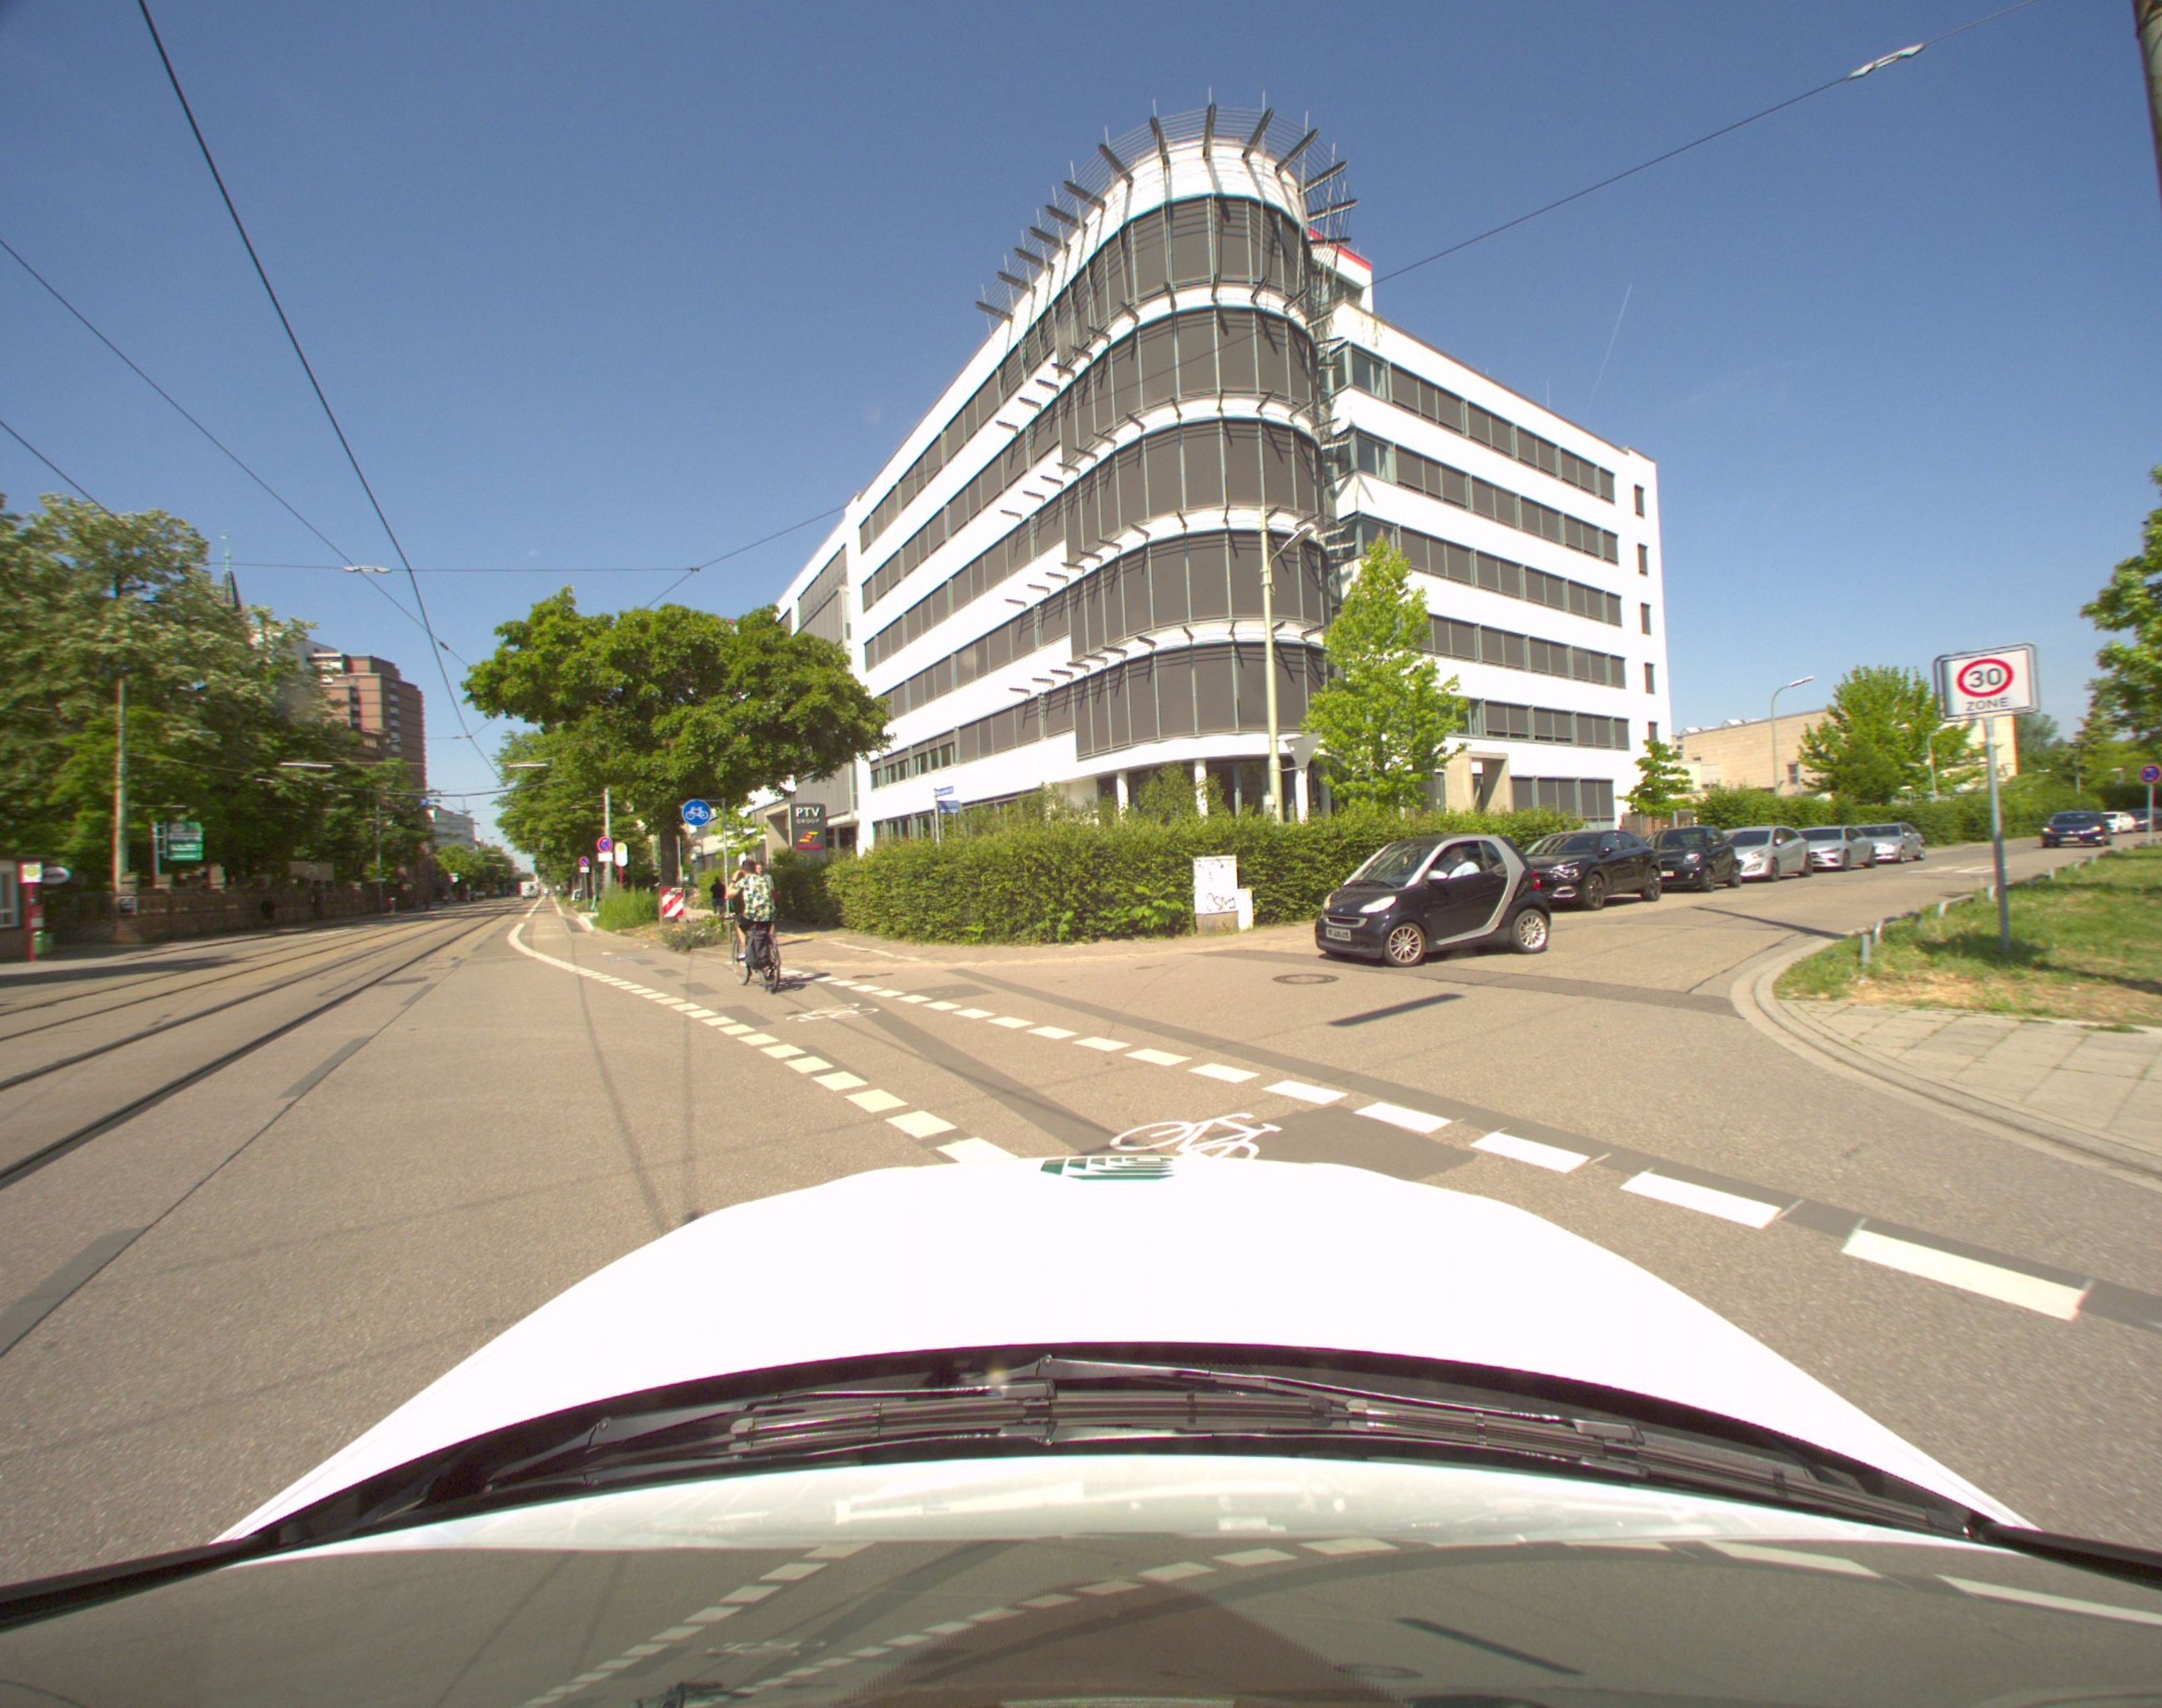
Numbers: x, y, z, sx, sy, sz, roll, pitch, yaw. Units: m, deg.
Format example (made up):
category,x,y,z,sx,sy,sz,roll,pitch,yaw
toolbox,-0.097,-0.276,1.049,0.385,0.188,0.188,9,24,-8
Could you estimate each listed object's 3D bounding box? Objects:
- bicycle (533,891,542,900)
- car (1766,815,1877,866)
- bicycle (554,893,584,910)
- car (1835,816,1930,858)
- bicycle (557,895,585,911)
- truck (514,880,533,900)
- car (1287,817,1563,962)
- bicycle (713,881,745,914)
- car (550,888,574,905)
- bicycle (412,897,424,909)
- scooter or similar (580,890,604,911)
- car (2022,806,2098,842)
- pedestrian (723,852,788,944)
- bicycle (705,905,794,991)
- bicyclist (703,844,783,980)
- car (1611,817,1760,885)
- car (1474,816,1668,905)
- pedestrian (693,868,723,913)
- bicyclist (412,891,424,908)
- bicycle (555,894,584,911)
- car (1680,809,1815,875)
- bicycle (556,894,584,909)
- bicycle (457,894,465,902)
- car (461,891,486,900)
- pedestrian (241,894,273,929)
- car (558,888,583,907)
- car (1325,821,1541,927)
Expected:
category,x,y,z,sx,sy,sz,roll,pitch,yaw
bicycle,-70.471,5.349,105.598,0.862,1.110,2.116,-1,-2,-35
car,23.361,-0.445,25.646,3.845,1.403,1.795,-3,-1,-36
bicycle,-40.793,3.772,64.851,1.918,1.169,0.810,-3,-1,-35
car,28.833,-0.634,29.284,3.845,1.322,1.795,-3,-1,-36
bicycle,-39.230,3.726,62.635,1.737,1.086,0.632,-3,-1,-35
truck,-92.181,6.012,134.689,2.420,3.109,5.972,-2,-1,-34
car,4.404,0.409,10.545,2.974,1.538,1.471,-4,0,-17
bicycle,-12.788,1.565,29.562,0.641,1.117,2.044,-2,-1,-35
car,-49.840,4.096,78.219,1.643,1.483,4.225,-2,-1,-37
bicycle,-62.174,4.579,76.392,0.596,1.105,2.032,-2,-1,-34
scooter or similar,-29.376,2.774,48.921,1.133,1.166,0.669,-3,-1,-32
car,44.164,-1.368,36.730,3.845,1.449,1.914,-3,-1,-36
pedestrian,-6.833,0.912,17.102,0.897,1.818,1.060,-2,-1,-41
bicycle,-4.526,1.216,11.020,0.613,0.984,2.140,-2,-1,-35
bicyclist,-4.599,0.762,11.056,0.722,1.724,0.977,-2,-1,-36
car,14.724,-0.086,19.785,3.868,1.444,1.764,-3,-1,-36
car,9.922,0.092,16.377,4.188,1.519,1.795,-3,-1,-36
pedestrian,-13.498,1.320,29.470,0.692,1.563,0.977,-5,0,-39
bicyclist,-62.097,4.284,76.275,0.746,1.531,0.937,-2,-1,-34
bicycle,-40.071,3.787,63.754,1.863,1.132,0.673,-3,-1,-35
car,18.222,-0.340,22.215,4.063,1.505,1.795,-4,0,-36
bicycle,-39.754,3.692,63.341,1.806,1.086,0.718,-3,-1,-35
bicycle,-91.720,6.491,120.480,0.667,1.154,1.992,-2,-1,-34
car,-138.380,9.464,185.642,1.975,1.750,4.024,-4,-1,26
pedestrian,-46.062,3.200,45.535,0.983,1.816,1.172,-4,0,-34
car,-42.777,3.609,68.235,1.641,1.472,3.592,-3,-1,-33
car,6.081,0.288,13.956,3.713,1.527,1.686,-3,0,-36
